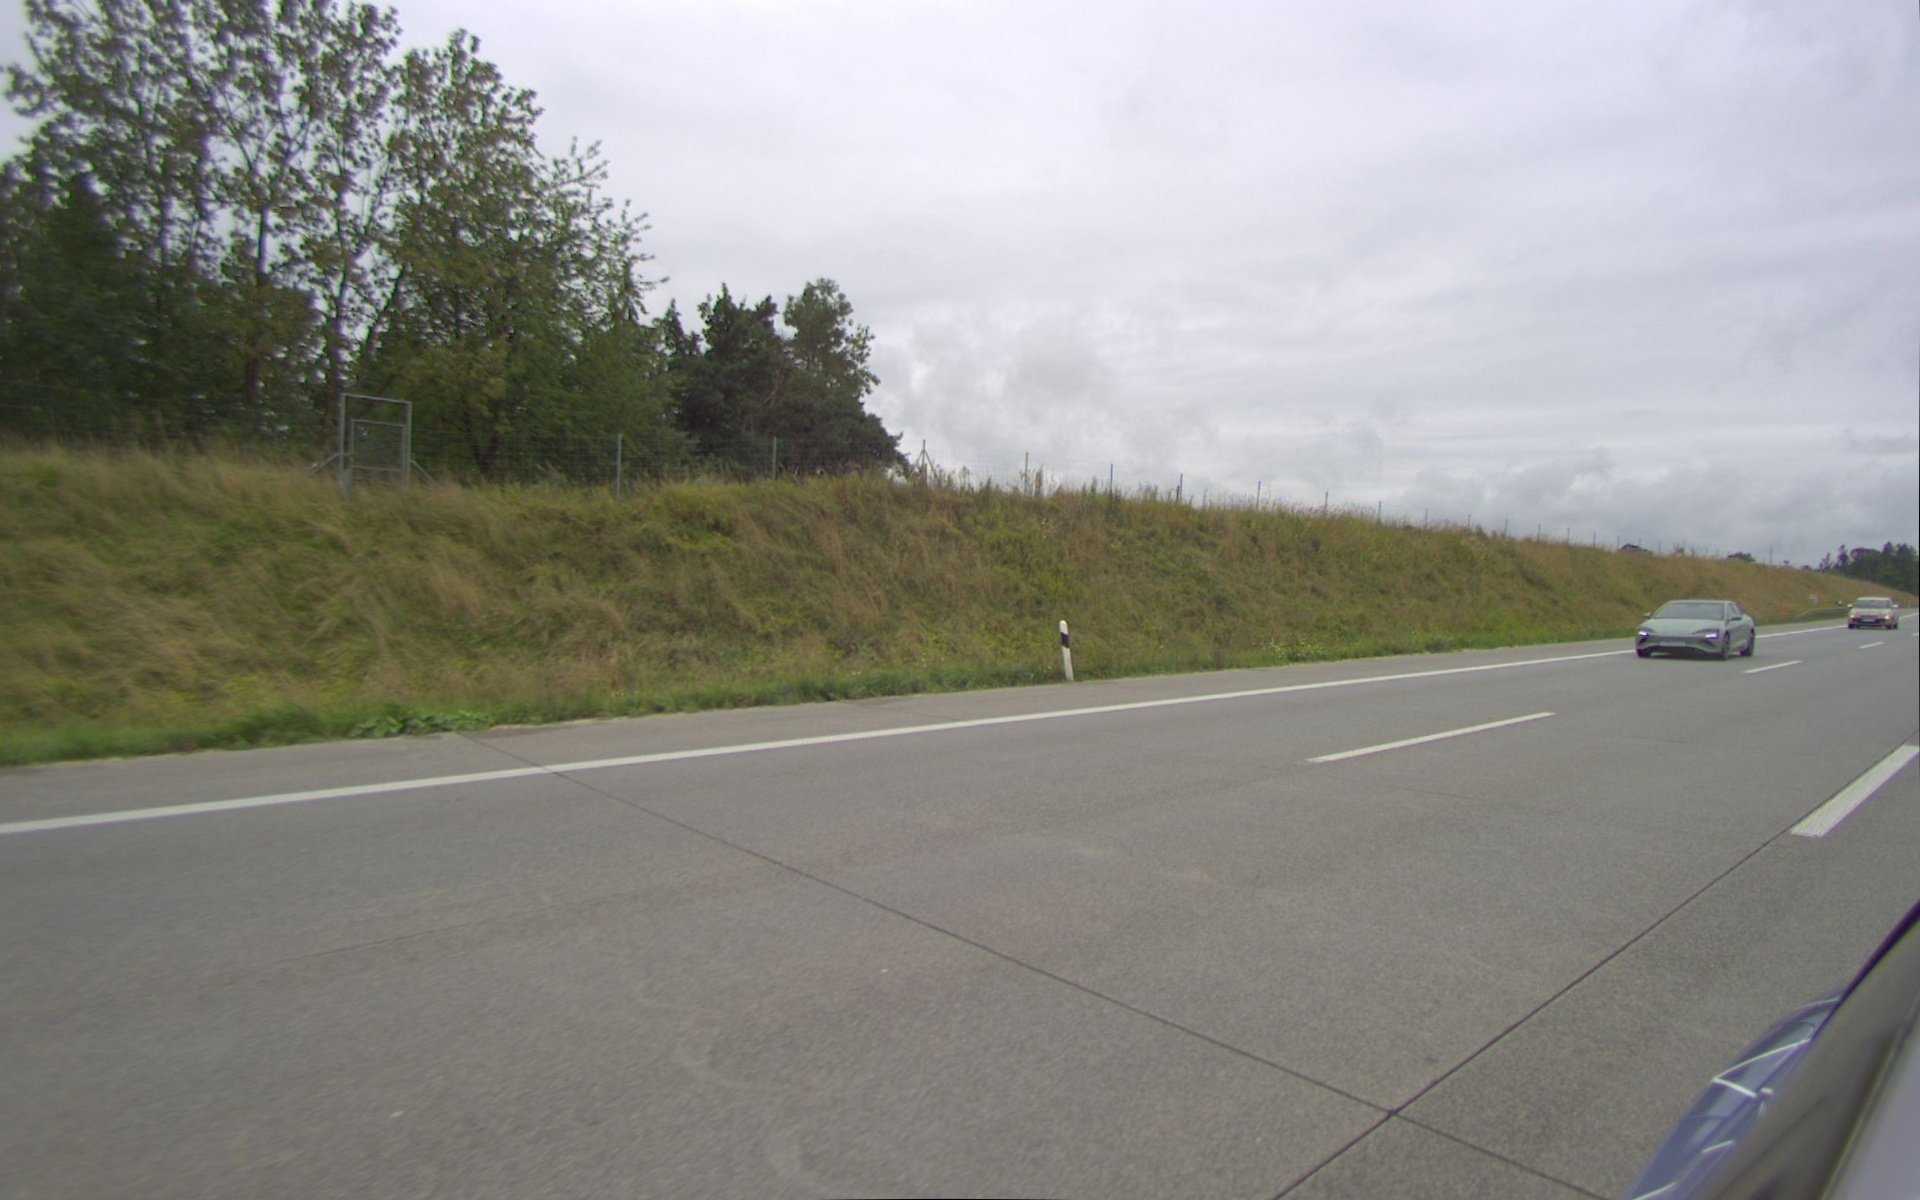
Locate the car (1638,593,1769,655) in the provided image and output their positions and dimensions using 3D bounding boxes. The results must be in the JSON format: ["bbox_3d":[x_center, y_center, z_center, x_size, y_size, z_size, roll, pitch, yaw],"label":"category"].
[{"bbox_3d":[19.338,0.598,26.249,4.666,1.464,2.015,1,-1,-44],"label":"car"}]

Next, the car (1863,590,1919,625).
[{"bbox_3d":[48.327,0.411,52.504,4.494,1.624,1.787,1,3,-44],"label":"car"}]
